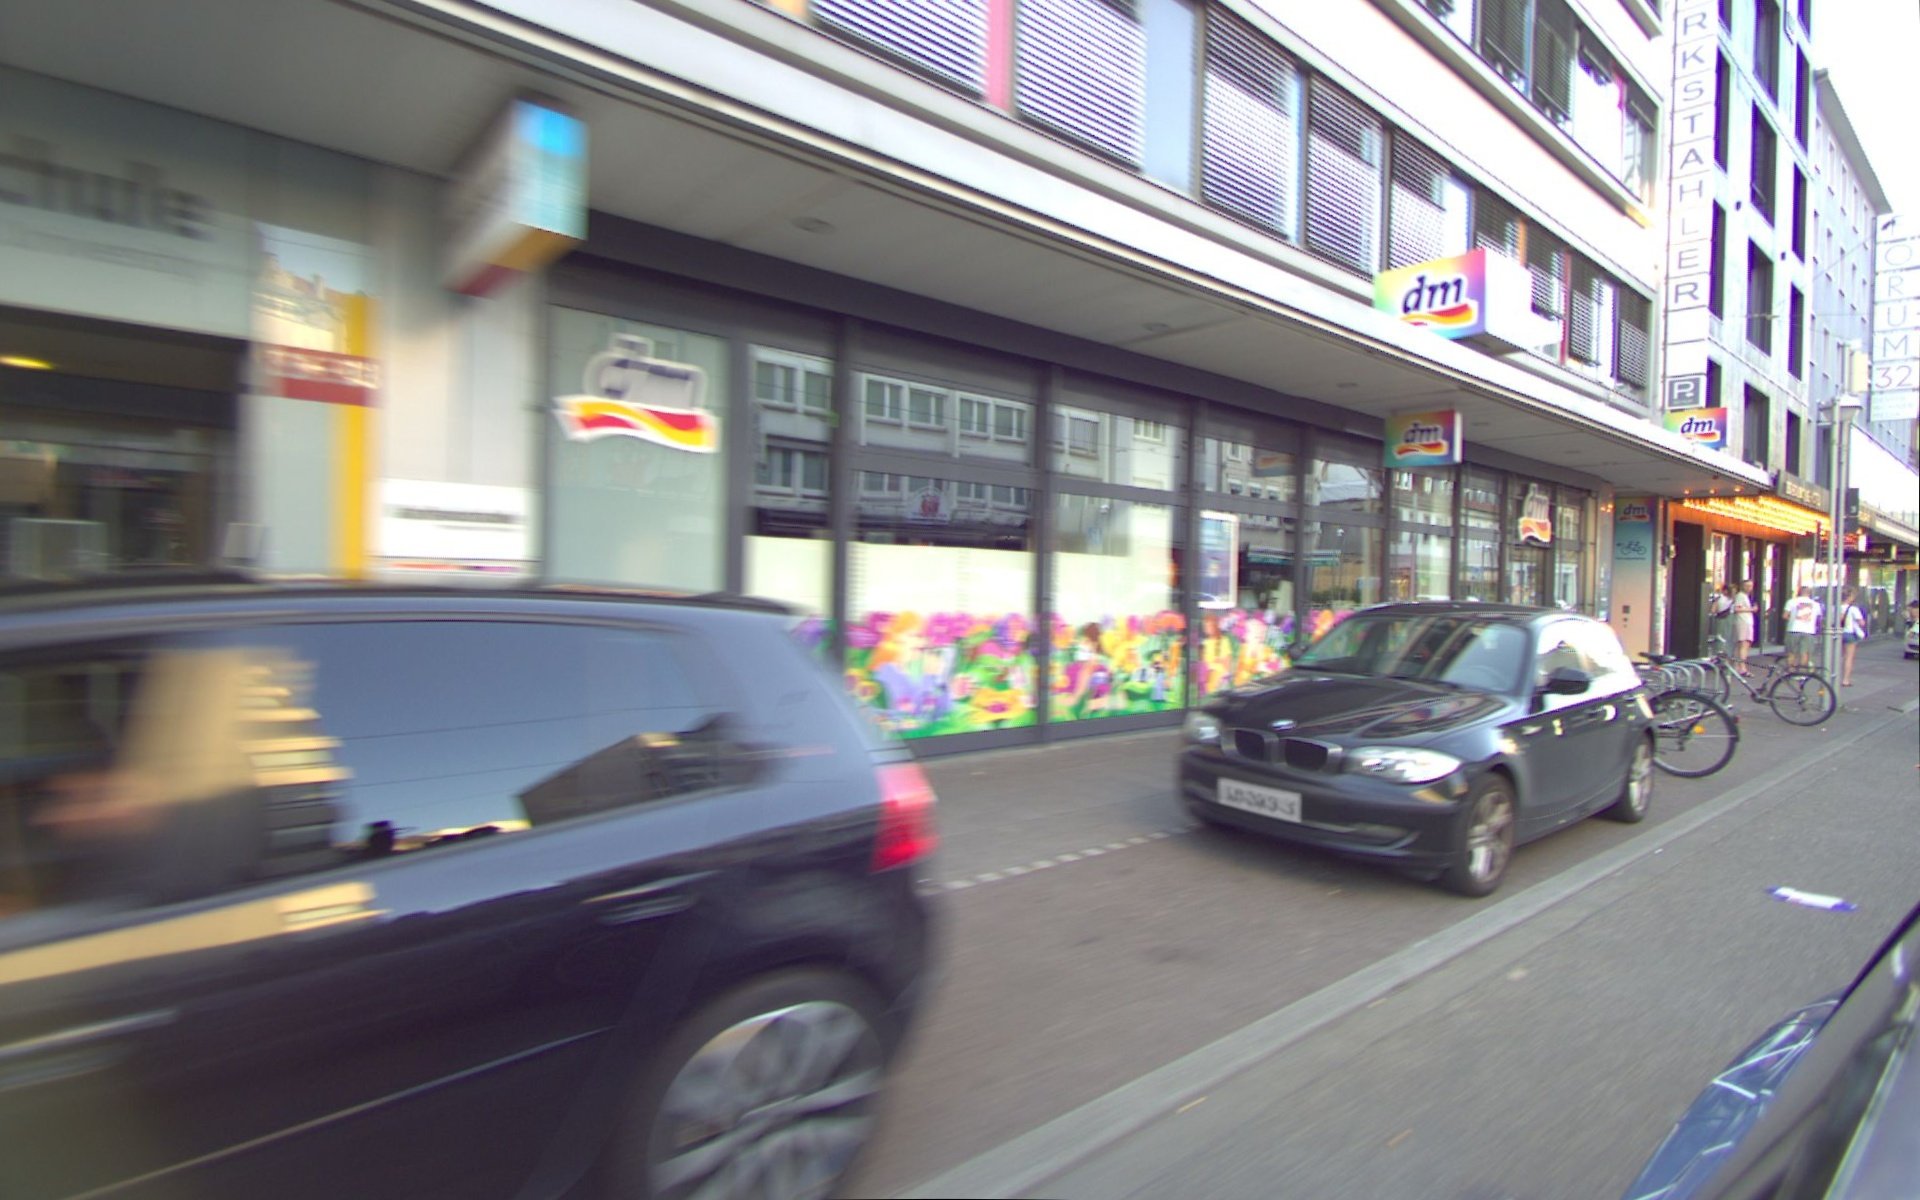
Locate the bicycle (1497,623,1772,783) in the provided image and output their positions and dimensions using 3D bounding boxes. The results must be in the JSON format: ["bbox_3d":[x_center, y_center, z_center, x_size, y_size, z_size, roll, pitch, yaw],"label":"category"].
[{"bbox_3d":[5.849,0.829,8.870,0.665,1.152,1.888,1,1,-43],"label":"bicycle"}]

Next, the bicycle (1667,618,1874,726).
[{"bbox_3d":[10.066,0.852,12.628,0.665,1.090,1.888,1,3,-43],"label":"bicycle"}]

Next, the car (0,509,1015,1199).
[{"bbox_3d":[-1.990,0.599,1.876,4.094,1.530,1.724,0,2,-41],"label":"car"}]

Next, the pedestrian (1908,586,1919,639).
[{"bbox_3d":[32.710,0.430,34.385,0.594,1.775,0.610,1,1,-41],"label":"pedestrian"}]

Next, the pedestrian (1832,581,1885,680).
[{"bbox_3d":[16.374,0.543,18.449,0.635,1.749,0.605,1,1,-41],"label":"pedestrian"}]

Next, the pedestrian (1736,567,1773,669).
[{"bbox_3d":[15.330,0.340,19.527,0.414,1.922,0.456,1,1,-41],"label":"pedestrian"}]

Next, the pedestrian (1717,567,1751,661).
[{"bbox_3d":[16.097,0.285,21.046,0.414,1.922,0.452,1,1,-41],"label":"pedestrian"}]

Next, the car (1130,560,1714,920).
[{"bbox_3d":[3.133,0.592,6.430,4.183,1.530,1.748,0,2,-41],"label":"car"}]

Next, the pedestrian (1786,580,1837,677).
[{"bbox_3d":[16.040,0.515,19.070,0.594,1.775,0.610,1,1,-41],"label":"pedestrian"}]

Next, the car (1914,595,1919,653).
[{"bbox_3d":[27.667,0.700,27.794,3.817,1.561,1.682,0,2,-40],"label":"car"}]
